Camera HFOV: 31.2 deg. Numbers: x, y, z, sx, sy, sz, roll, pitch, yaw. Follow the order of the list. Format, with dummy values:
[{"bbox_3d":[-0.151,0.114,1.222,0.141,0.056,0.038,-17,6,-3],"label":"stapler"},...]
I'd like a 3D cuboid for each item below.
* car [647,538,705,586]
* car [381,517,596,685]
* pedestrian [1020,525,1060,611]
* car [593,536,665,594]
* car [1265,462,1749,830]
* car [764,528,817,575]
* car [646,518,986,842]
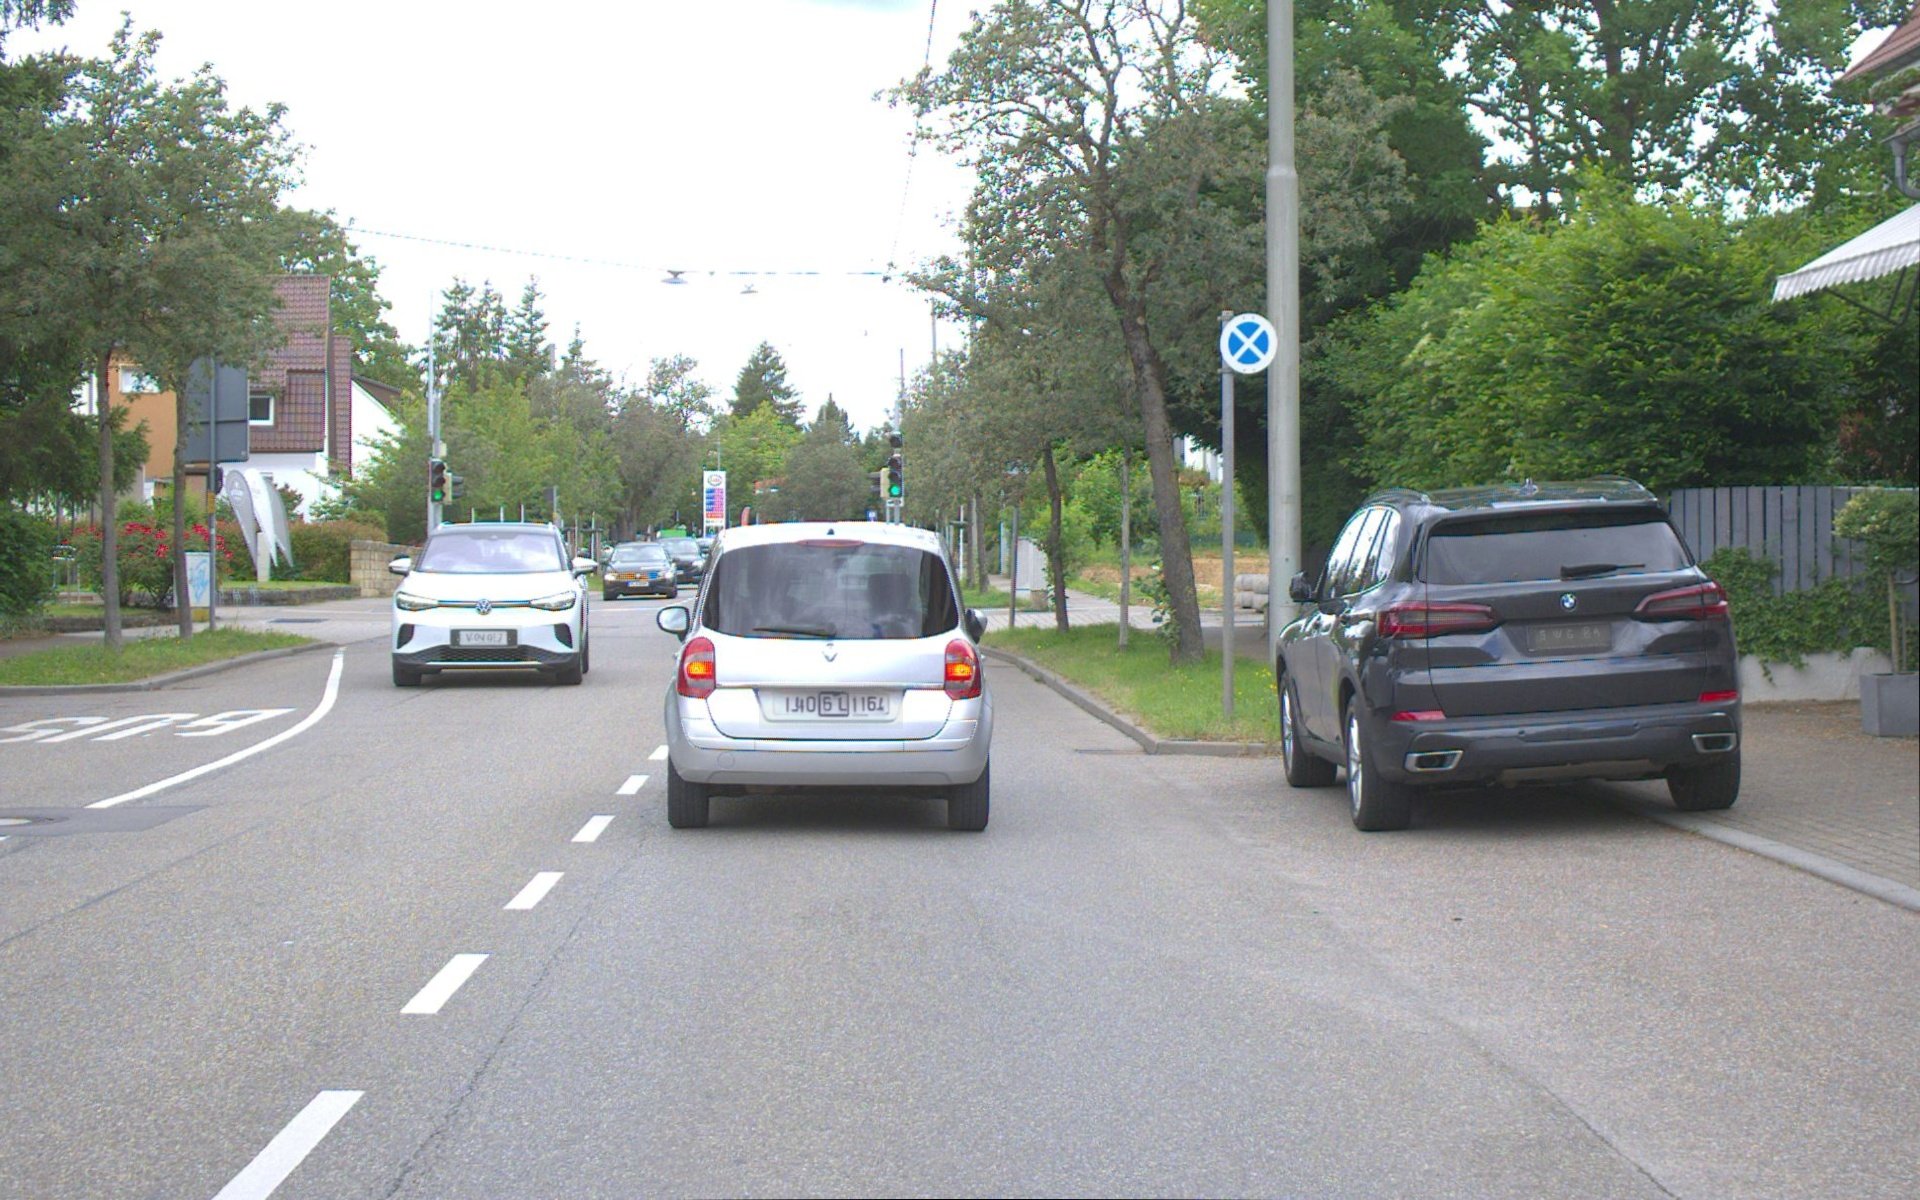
[{"bbox_3d":[-8.698,-1.151,105.347,1.721,1.406,4.001,1,0,-4],"label":"car"},{"bbox_3d":[-4.740,-0.004,35.049,1.905,1.612,4.001,0,0,-4],"label":"car"},{"bbox_3d":[1.547,-0.629,66.359,0.705,1.641,0.773,-1,1,-2],"label":"pedestrian"},{"bbox_3d":[-8.426,-0.883,87.731,1.721,1.406,4.001,1,0,-4],"label":"car"},{"bbox_3d":[2.821,0.207,18.602,1.812,1.736,4.000,-1,0,-2],"label":"car"},{"bbox_3d":[-6.157,-1.785,125.161,1.829,1.670,3.575,-1,1,-1],"label":"car"},{"bbox_3d":[-0.721,0.377,18.766,1.630,1.551,4.000,1,0,-1],"label":"car"}]
